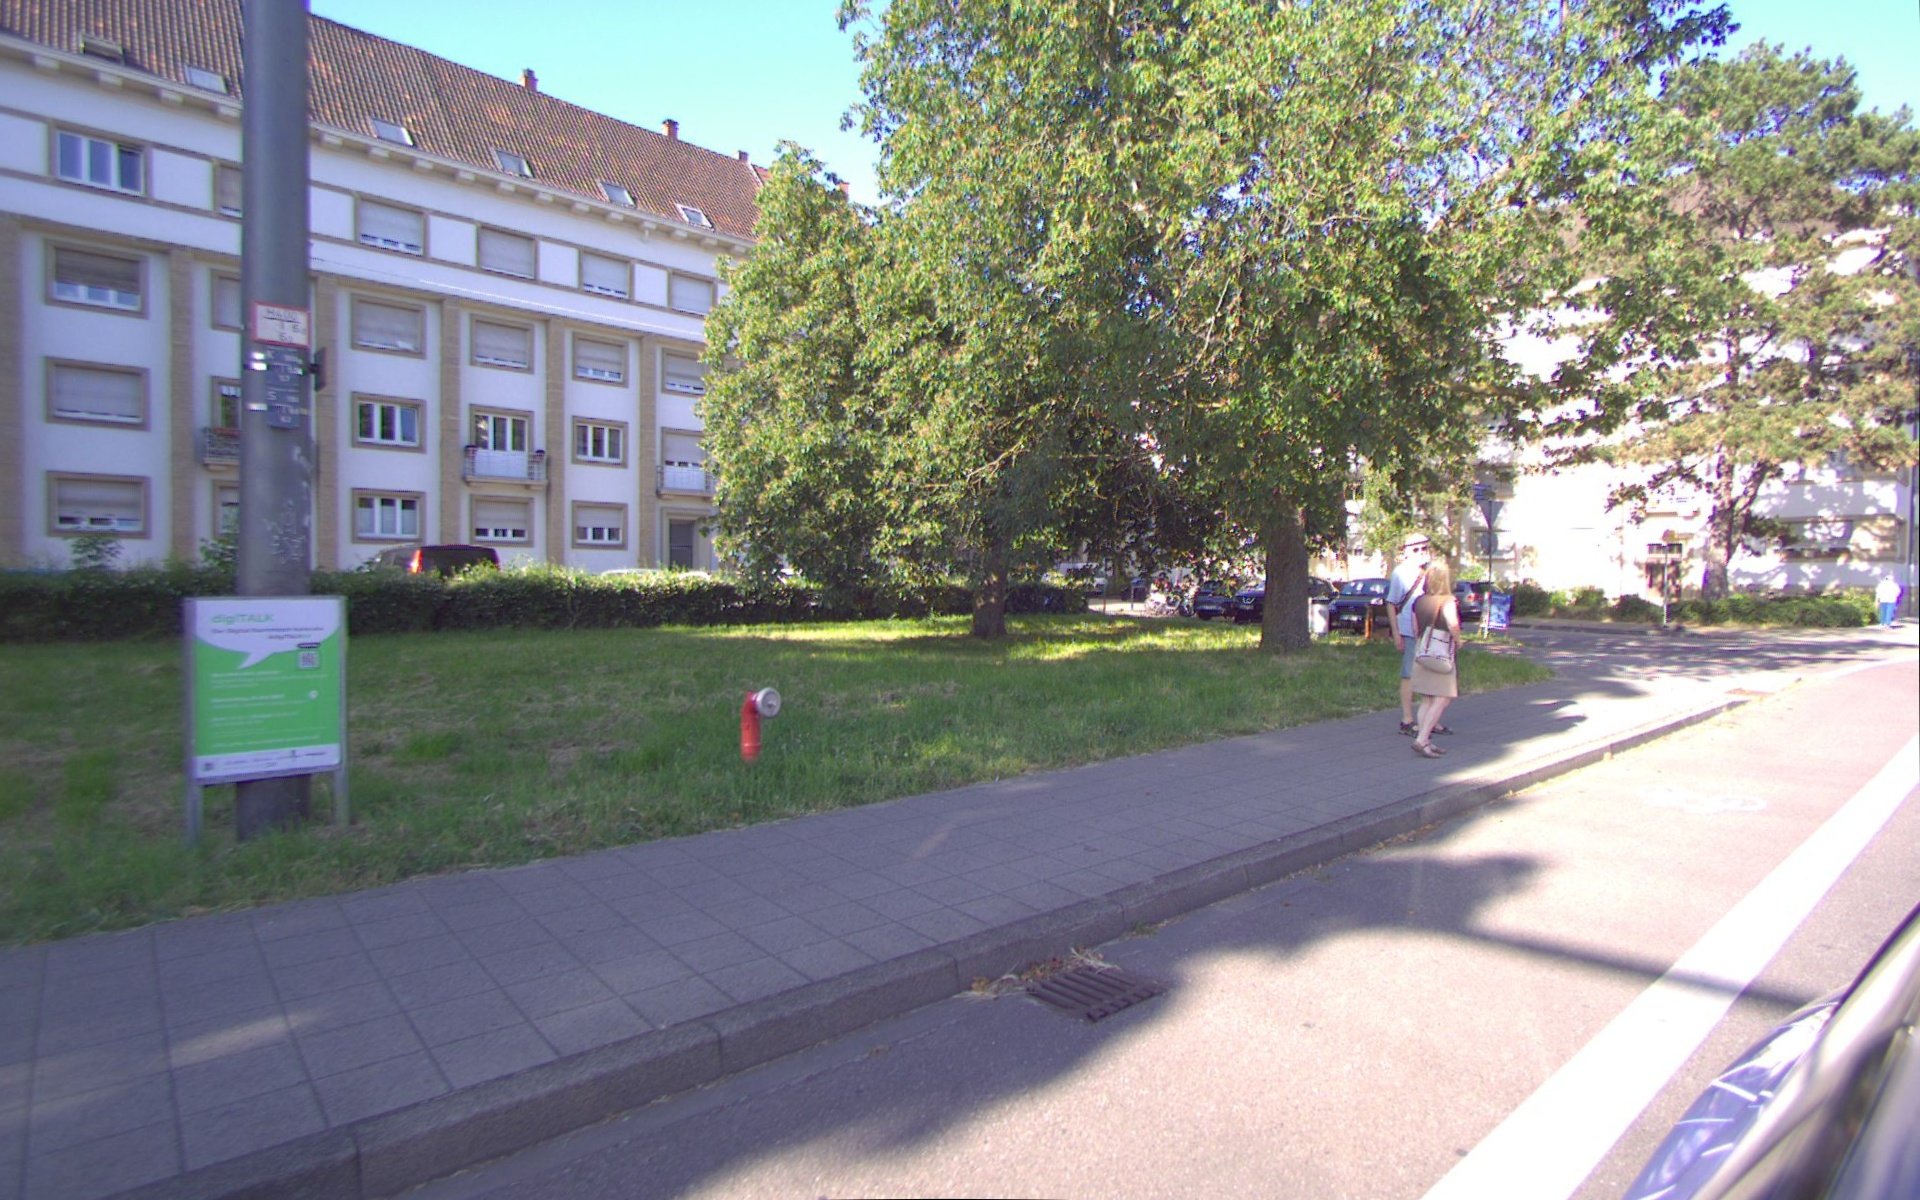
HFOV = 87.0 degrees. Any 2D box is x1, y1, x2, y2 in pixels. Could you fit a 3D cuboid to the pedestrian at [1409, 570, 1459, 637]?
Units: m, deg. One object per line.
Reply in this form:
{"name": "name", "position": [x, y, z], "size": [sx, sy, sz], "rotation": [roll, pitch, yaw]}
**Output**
{"name": "pedestrian", "position": [8.970, 0.063, 19.154], "size": [0.745, 1.242, 0.405], "rotation": [-1, -1, -14]}

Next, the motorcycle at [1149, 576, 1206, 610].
{"name": "motorcycle", "position": [7.636, -0.247, 35.527], "size": [1.771, 1.085, 0.706], "rotation": [4, 3, 33]}

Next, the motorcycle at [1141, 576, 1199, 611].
{"name": "motorcycle", "position": [7.235, -0.231, 34.854], "size": [1.771, 1.085, 0.706], "rotation": [4, 3, 33]}

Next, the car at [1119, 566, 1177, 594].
{"name": "car", "position": [11.643, -1.215, 62.938], "size": [1.762, 1.631, 4.008], "rotation": [-1, 0, -18]}

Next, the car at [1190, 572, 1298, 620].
{"name": "car", "position": [9.321, -0.173, 33.044], "size": [1.636, 1.458, 4.175], "rotation": [3, 3, 43]}

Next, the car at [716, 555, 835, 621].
{"name": "car", "position": [-5.512, -0.318, 29.977], "size": [1.737, 1.817, 3.994], "rotation": [-1, -1, -39]}

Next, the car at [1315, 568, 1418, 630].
{"name": "car", "position": [10.981, -0.077, 27.214], "size": [1.632, 1.512, 3.758], "rotation": [2, 3, 37]}

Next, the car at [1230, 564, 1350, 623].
{"name": "car", "position": [9.660, -0.213, 29.519], "size": [3.739, 1.591, 1.456], "rotation": [-1, 3, -38]}

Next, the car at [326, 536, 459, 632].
{"name": "car", "position": [-11.938, -0.285, 21.177], "size": [1.737, 1.817, 3.994], "rotation": [-1, -1, -39]}

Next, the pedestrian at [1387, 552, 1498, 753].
{"name": "pedestrian", "position": [3.904, 0.392, 8.201], "size": [0.616, 1.547, 0.531], "rotation": [-1, 3, -35]}

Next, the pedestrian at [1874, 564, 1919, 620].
{"name": "pedestrian", "position": [30.005, -0.269, 32.423], "size": [0.711, 1.743, 0.883], "rotation": [0, 1, -35]}

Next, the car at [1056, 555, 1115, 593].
{"name": "car", "position": [8.908, -1.838, 72.206], "size": [2.081, 2.473, 5.328], "rotation": [-1, 0, -18]}

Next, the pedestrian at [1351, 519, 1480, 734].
{"name": "pedestrian", "position": [4.046, 0.209, 9.011], "size": [0.681, 1.811, 0.705], "rotation": [1, 3, -35]}

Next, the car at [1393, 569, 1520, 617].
{"name": "car", "position": [18.327, -0.318, 37.574], "size": [1.733, 1.519, 4.316], "rotation": [-3, 3, -17]}

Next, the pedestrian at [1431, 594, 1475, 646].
{"name": "pedestrian", "position": [9.103, 0.372, 18.685], "size": [0.610, 0.946, 0.405], "rotation": [1, -1, -14]}

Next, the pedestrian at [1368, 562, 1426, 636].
{"name": "pedestrian", "position": [8.504, -0.017, 19.722], "size": [0.739, 1.390, 0.688], "rotation": [-1, -1, -14]}
